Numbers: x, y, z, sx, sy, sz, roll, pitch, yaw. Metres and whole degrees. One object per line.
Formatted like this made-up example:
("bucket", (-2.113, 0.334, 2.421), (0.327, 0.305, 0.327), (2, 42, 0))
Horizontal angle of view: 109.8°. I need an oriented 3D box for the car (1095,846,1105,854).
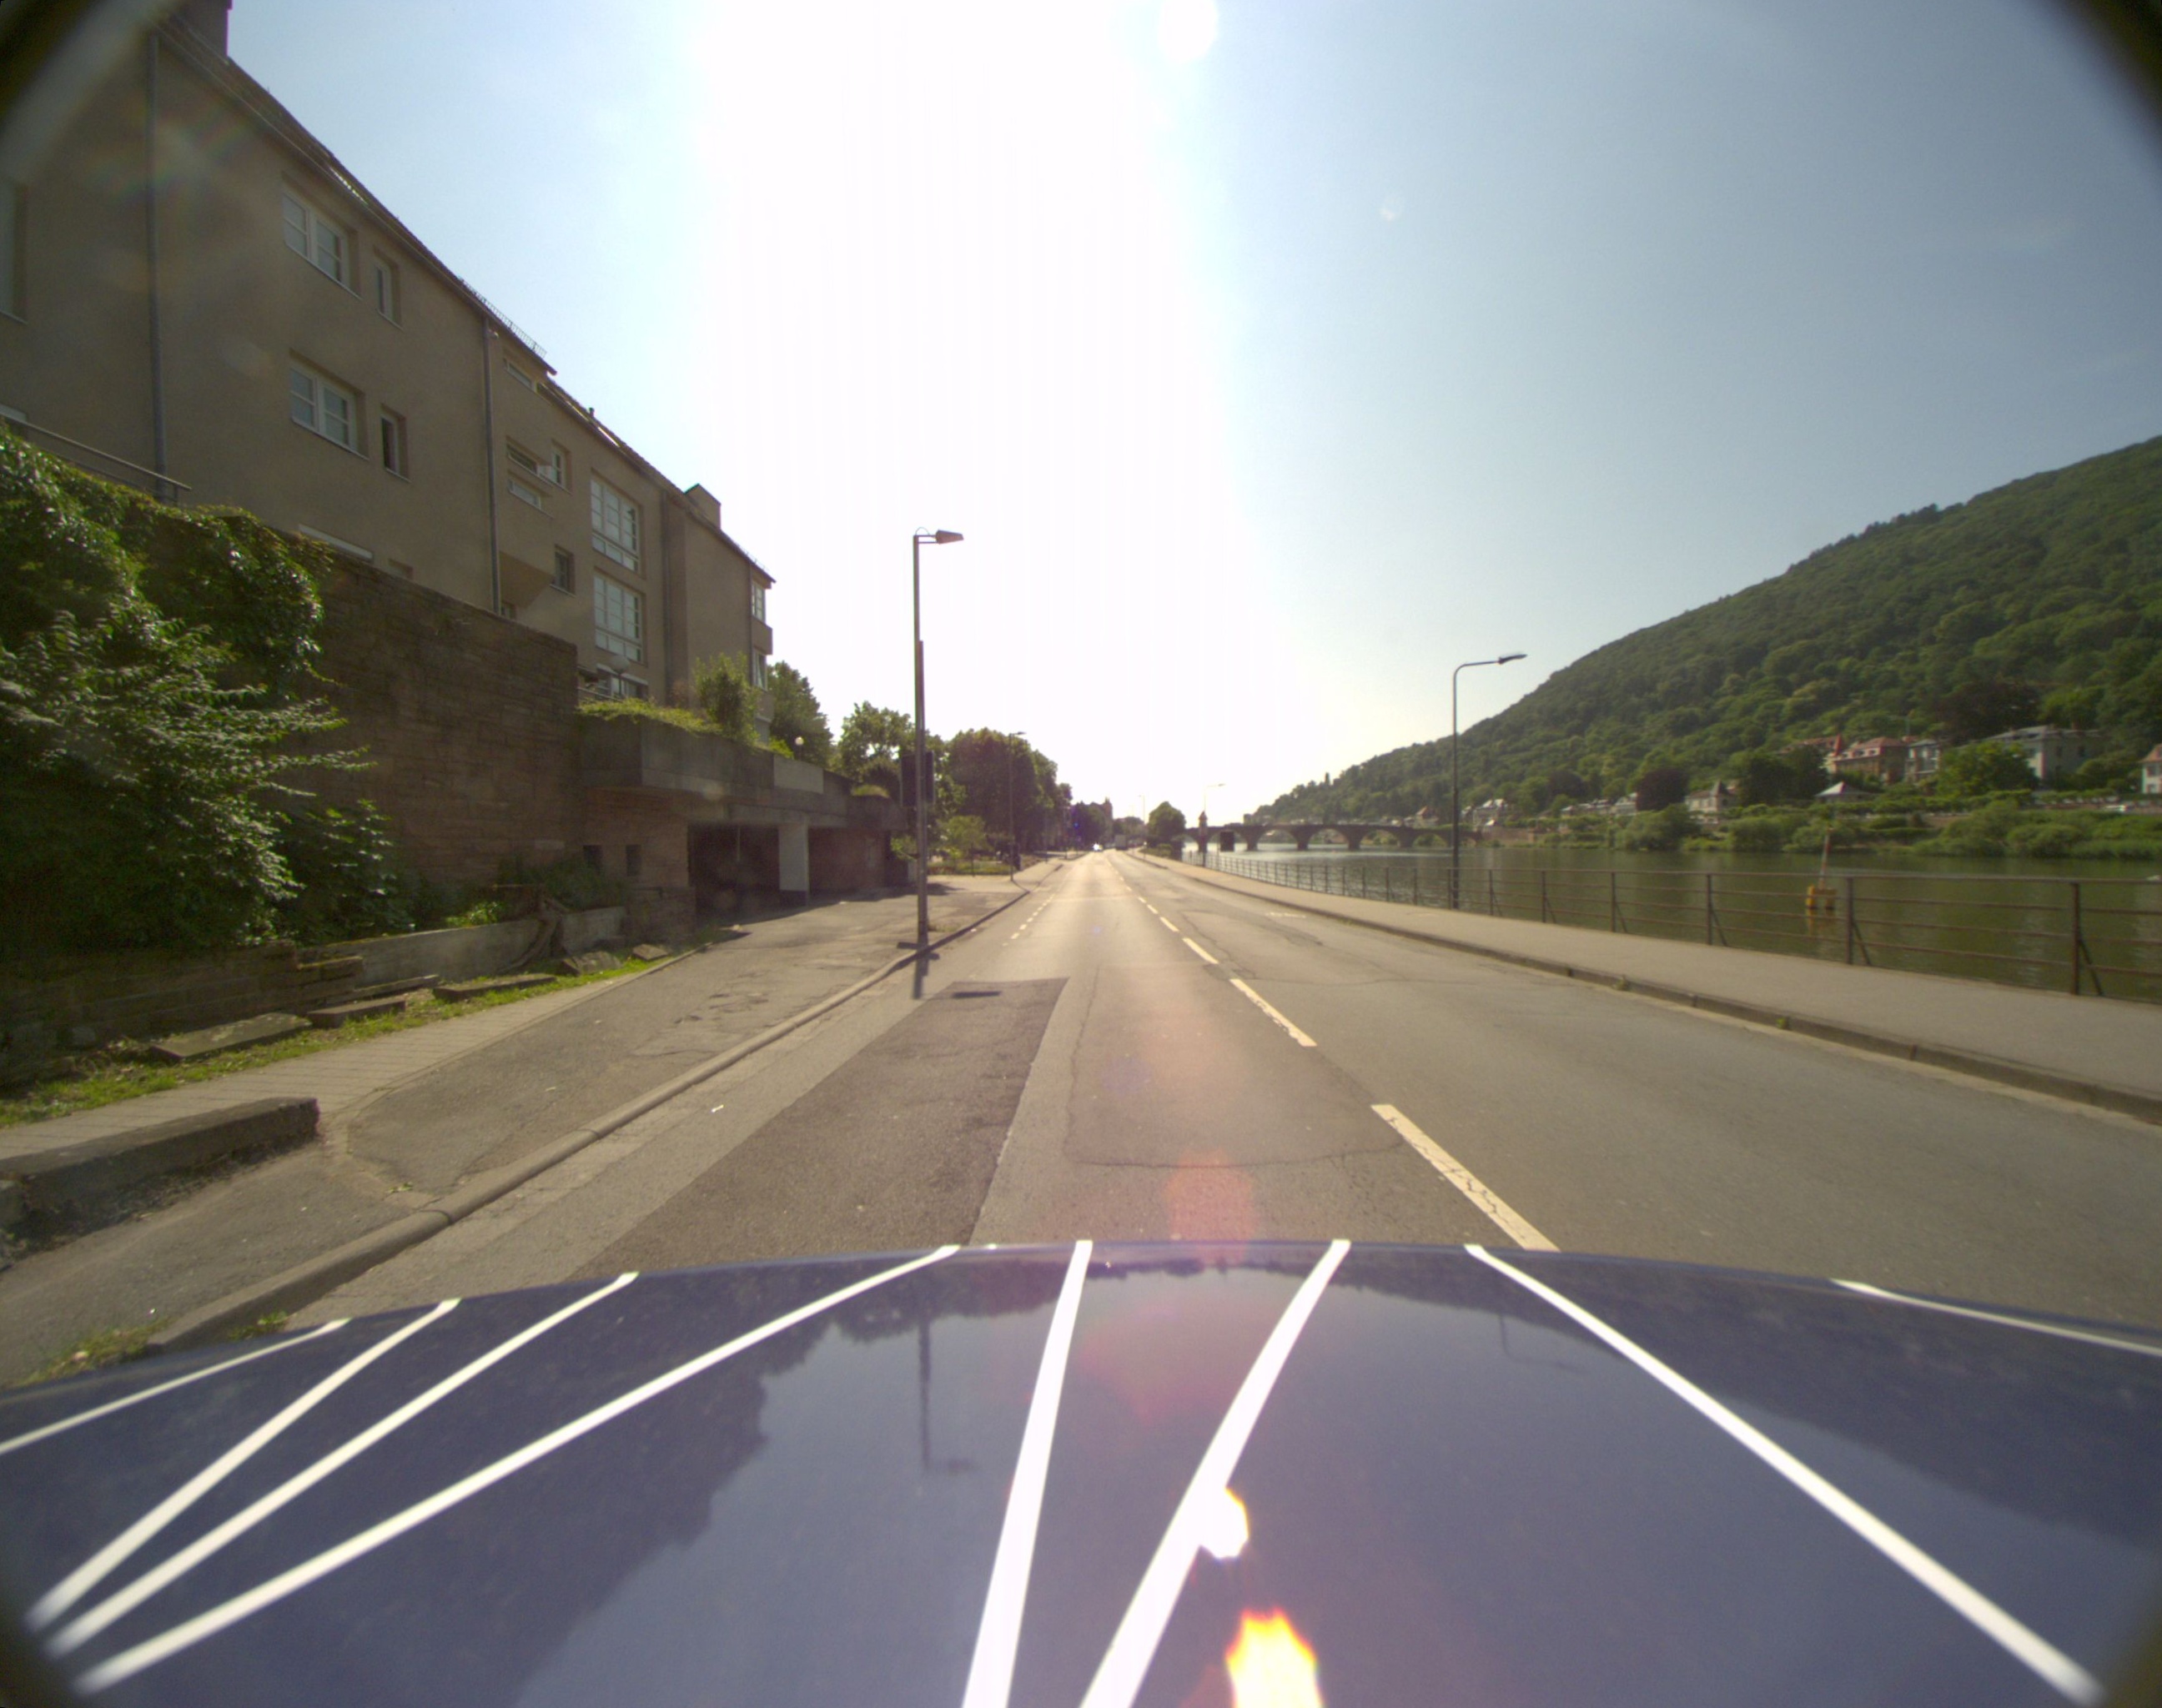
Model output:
("car", (3.996, -0.837, 158.768), (1.998, 1.433, 4.001), (1, 0, 3))
